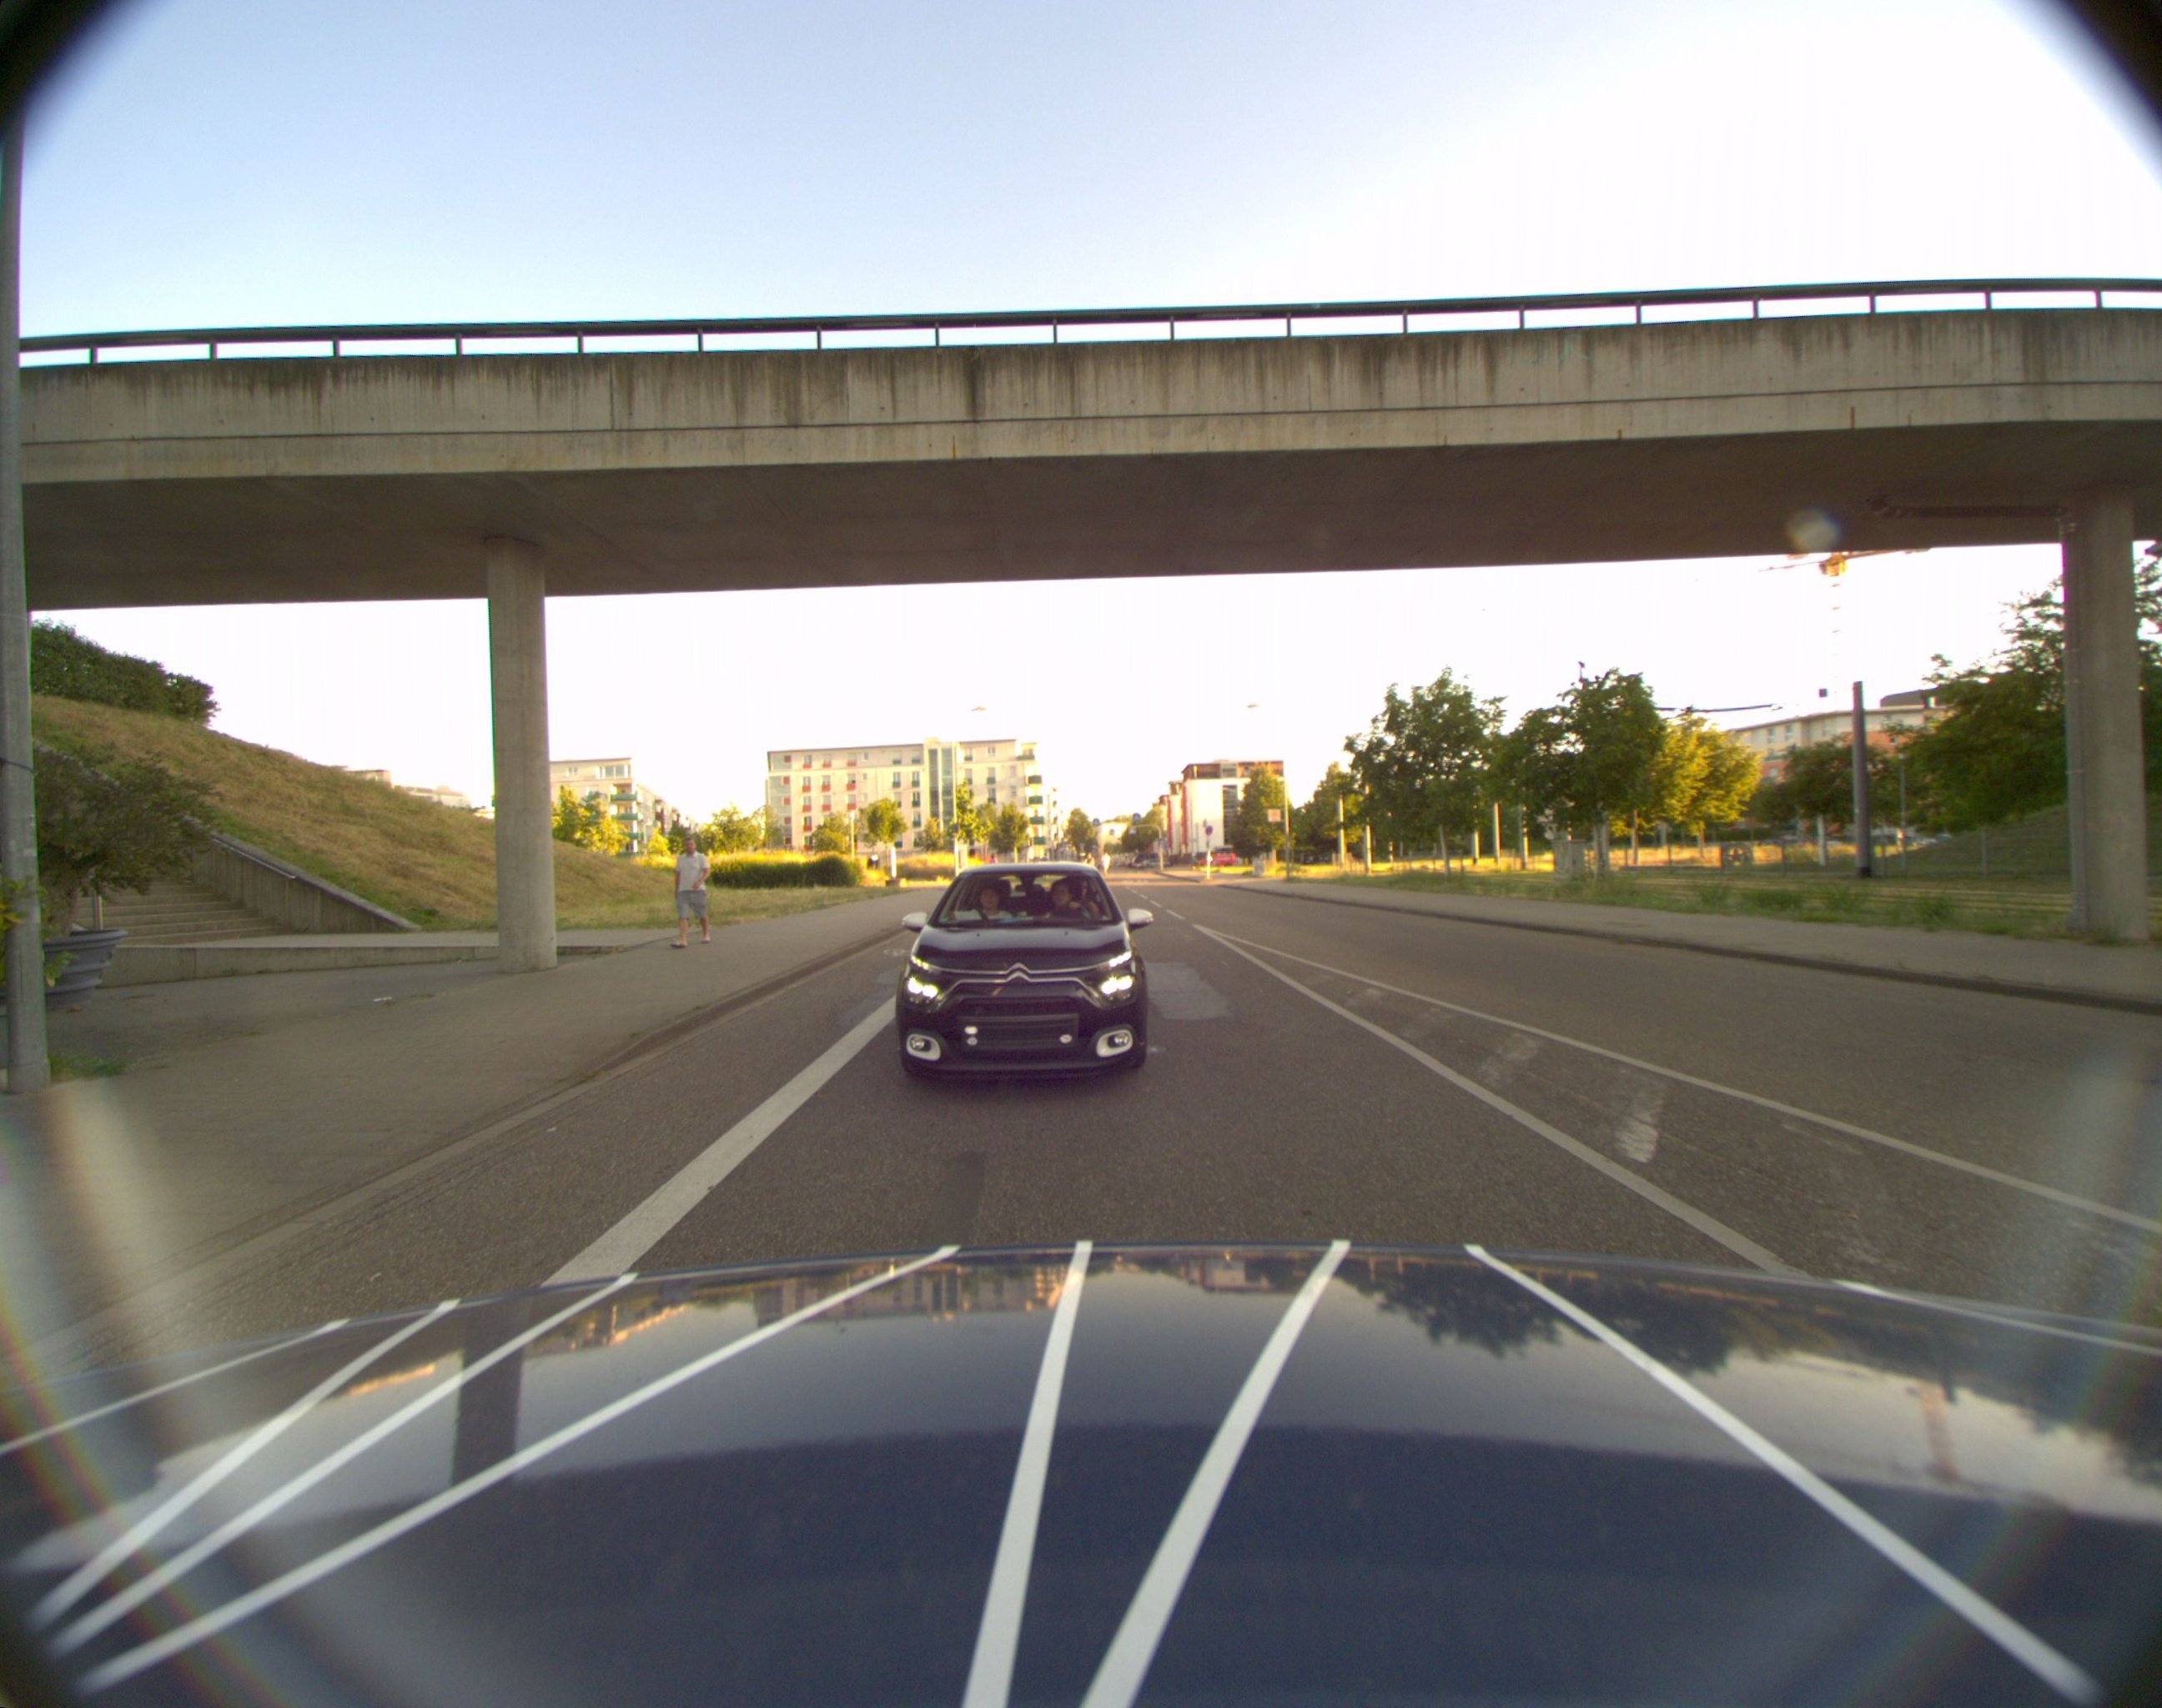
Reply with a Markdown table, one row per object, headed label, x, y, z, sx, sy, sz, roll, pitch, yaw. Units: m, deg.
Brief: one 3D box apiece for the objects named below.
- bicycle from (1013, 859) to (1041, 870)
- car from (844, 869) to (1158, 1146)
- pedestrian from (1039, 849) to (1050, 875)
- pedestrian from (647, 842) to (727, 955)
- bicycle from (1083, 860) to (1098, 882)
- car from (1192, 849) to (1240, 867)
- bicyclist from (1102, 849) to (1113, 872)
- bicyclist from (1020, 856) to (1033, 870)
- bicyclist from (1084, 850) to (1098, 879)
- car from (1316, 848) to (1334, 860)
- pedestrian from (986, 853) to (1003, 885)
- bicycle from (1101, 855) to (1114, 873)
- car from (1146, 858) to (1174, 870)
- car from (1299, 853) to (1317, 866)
| label | x | y | z | sx | sy | sz | roll | pitch | yaw |
| --- | --- | --- | --- | --- | --- | --- | --- | --- | --- |
| bicycle | -6.248 | 1.219 | 87.608 | 3.489 | 1.142 | 0.902 | -2 | 0 | 39 |
| car | -0.424 | 0.918 | 6.334 | 1.739 | 1.455 | 4.000 | -2 | 0 | 1 |
| pedestrian | -2.491 | 0.549 | 51.802 | 0.737 | 1.714 | 0.532 | 0 | 0 | 1 |
| pedestrian | -6.264 | 0.680 | 12.123 | 0.737 | 1.714 | 0.906 | -2 | 0 | 1 |
| bicycle | 0.568 | 0.959 | 44.467 | 0.662 | 1.217 | 2.440 | -2 | 0 | 4 |
| car | 16.800 | 0.499 | 94.376 | 5.514 | 2.002 | 2.003 | -2 | 0 | 19 |
| bicyclist | 2.200 | 0.529 | 63.007 | 0.883 | 1.865 | 1.034 | -2 | 0 | 0 |
| bicyclist | -6.291 | 1.005 | 87.609 | 0.934 | 1.585 | 1.065 | -2 | 0 | -42 |
| bicyclist | 0.580 | 0.624 | 43.692 | 0.696 | 1.630 | 0.852 | -2 | 0 | 6 |
| car | 31.080 | 0.004 | 96.829 | 1.942 | 1.521 | 4.004 | -2 | 0 | 14 |
| pedestrian | -4.417 | 0.769 | 38.866 | 0.737 | 1.620 | 0.859 | 0 | 0 | 2 |
| bicycle | 2.203 | 0.802 | 63.208 | 0.887 | 1.483 | 3.322 | -2 | 0 | 4 |
| car | 11.796 | 1.474 | 113.867 | 3.996 | 1.718 | 2.000 | -2 | 0 | 2 |
| car | 29.012 | 0.658 | 97.220 | 1.942 | 1.521 | 4.004 | -2 | 0 | 14 |
